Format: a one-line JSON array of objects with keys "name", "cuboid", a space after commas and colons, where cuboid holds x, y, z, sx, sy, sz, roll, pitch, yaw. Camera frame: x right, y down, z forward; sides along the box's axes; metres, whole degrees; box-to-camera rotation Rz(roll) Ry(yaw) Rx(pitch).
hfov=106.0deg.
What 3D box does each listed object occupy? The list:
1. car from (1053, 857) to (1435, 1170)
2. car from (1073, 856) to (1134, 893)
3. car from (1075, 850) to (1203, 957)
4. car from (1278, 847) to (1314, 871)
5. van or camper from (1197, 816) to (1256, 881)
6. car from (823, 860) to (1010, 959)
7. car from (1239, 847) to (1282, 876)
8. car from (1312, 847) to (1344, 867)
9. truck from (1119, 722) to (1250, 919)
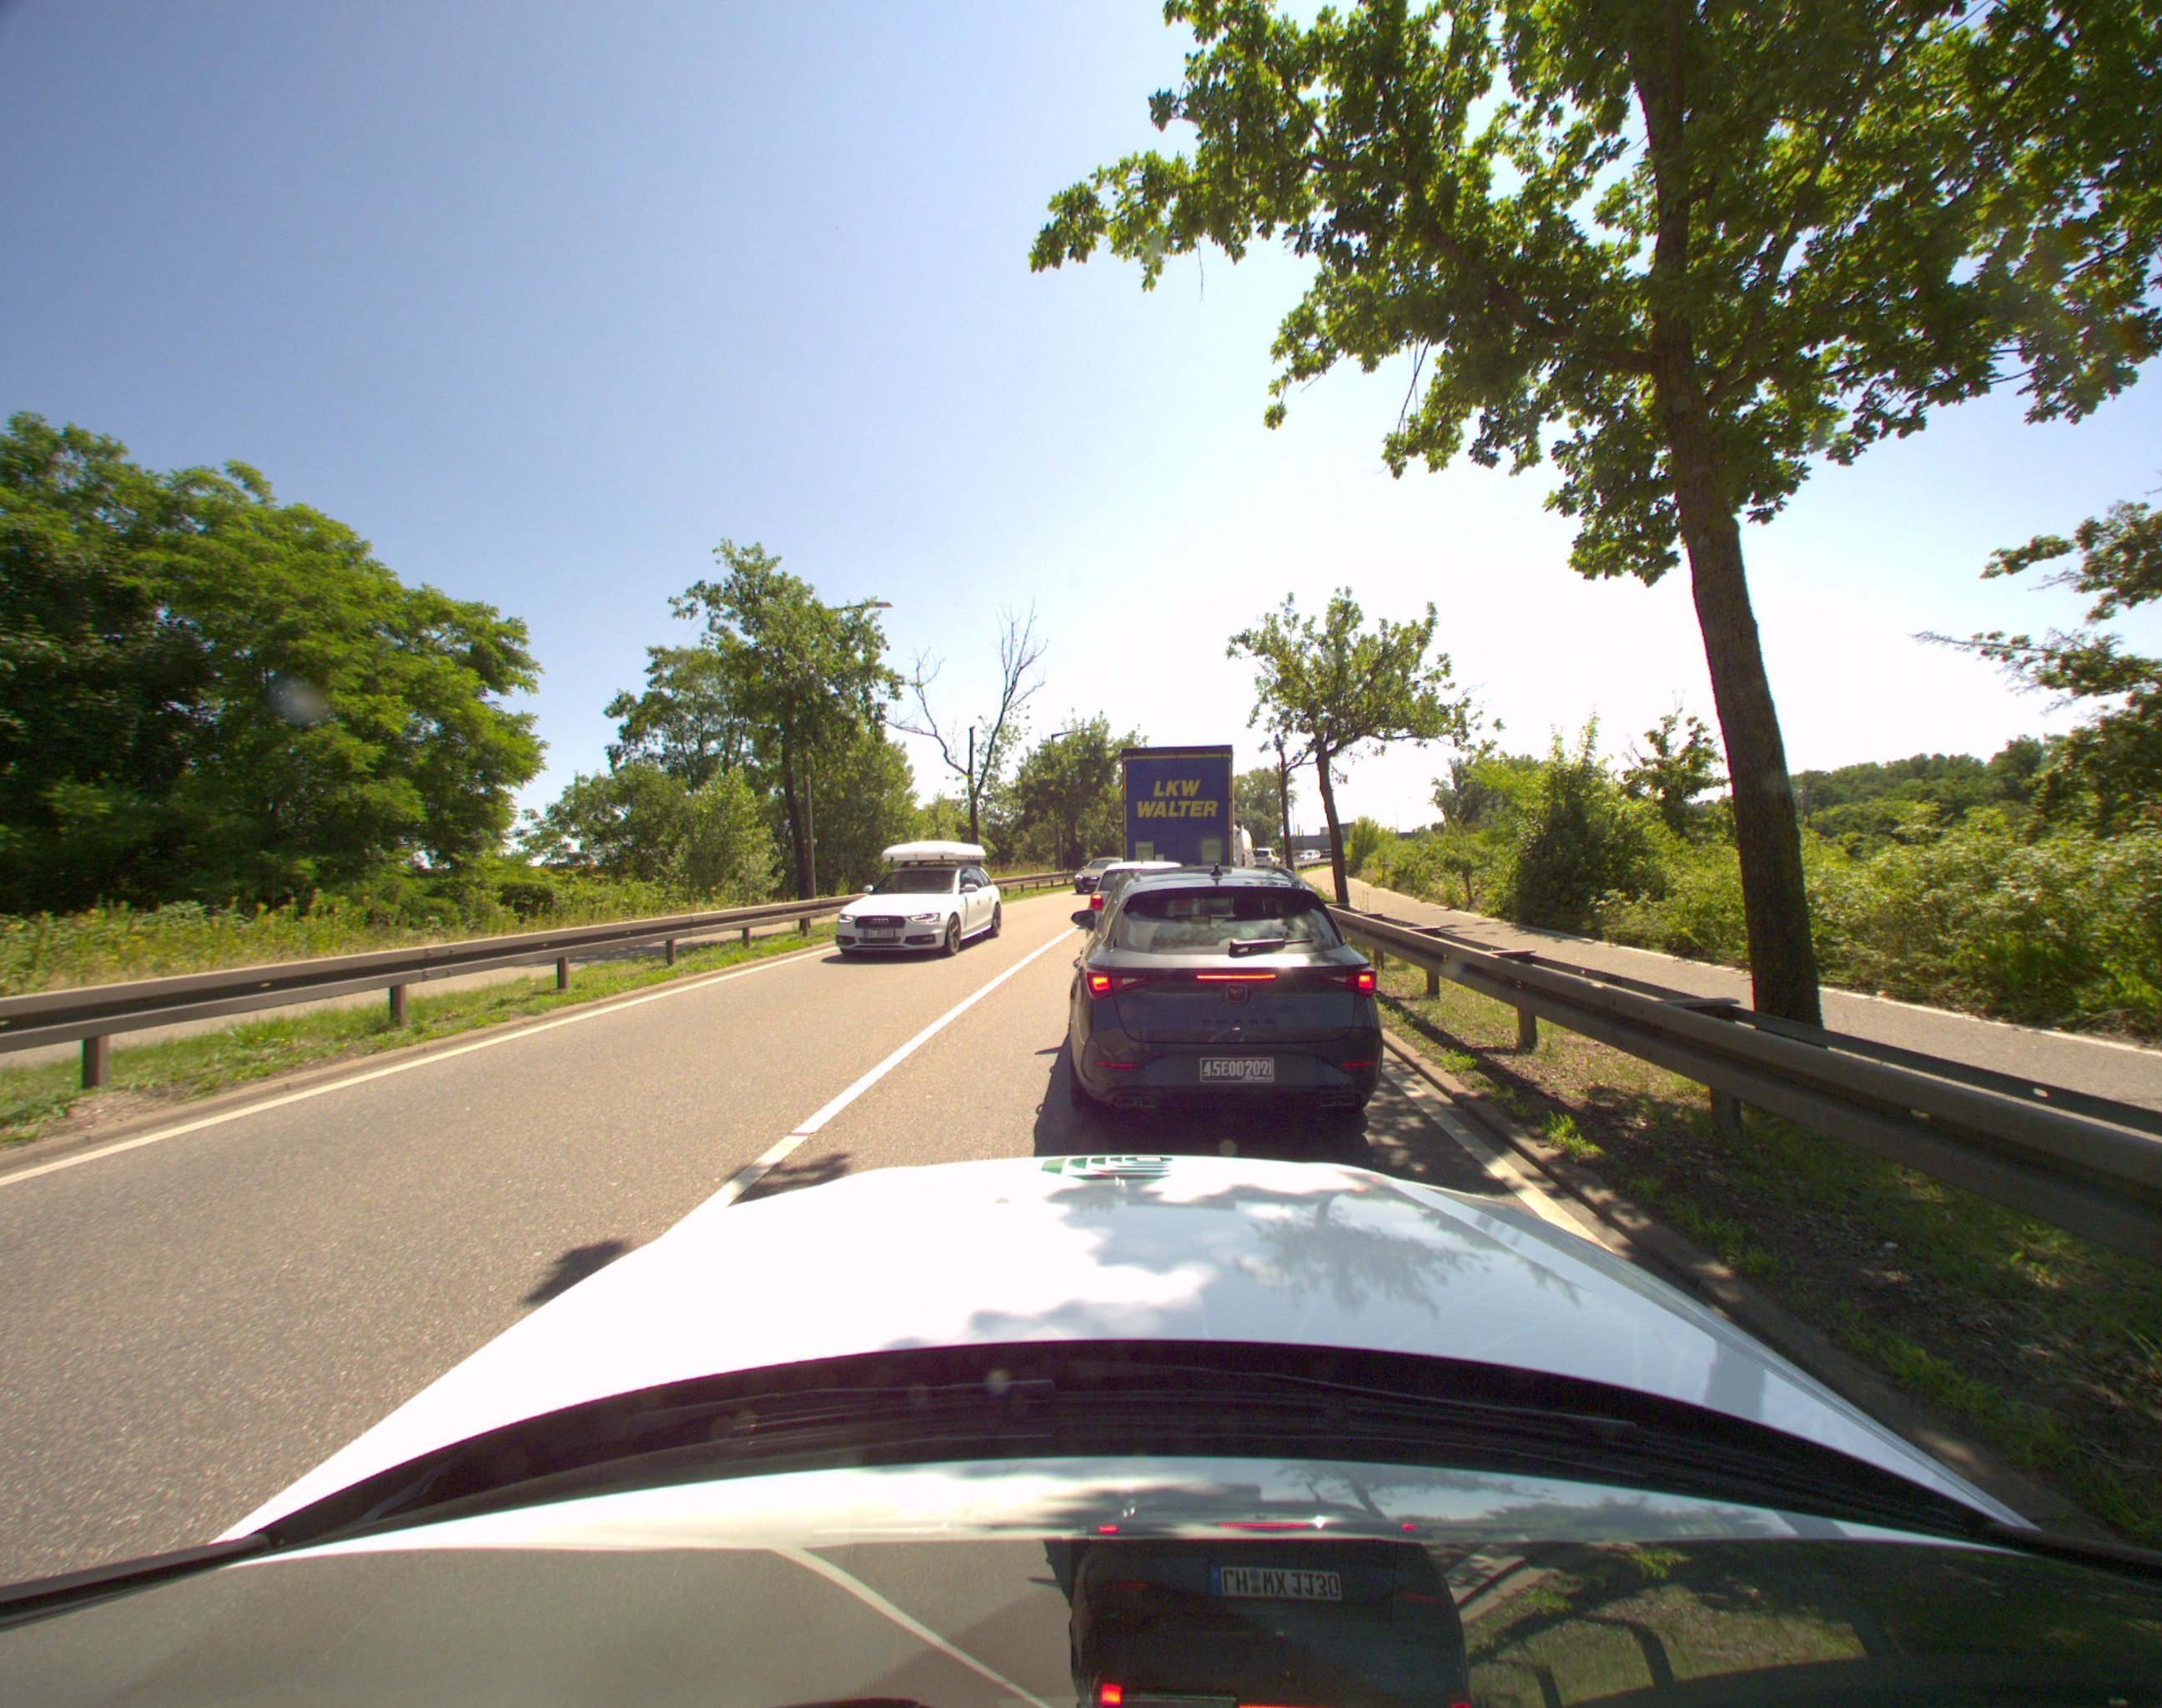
[{"name": "car", "cuboid": [0.825, 0.745, 5.699, 1.737, 1.432, 3.882, -1, 0, 2]}, {"name": "car", "cuboid": [0.993, 0.789, 33.426, 1.748, 1.396, 4.419, -1, 0, 11]}, {"name": "car", "cuboid": [0.957, 0.710, 13.616, 1.801, 1.508, 4.004, -1, 0, 4]}, {"name": "car", "cuboid": [16.803, 0.385, 63.521, 1.976, 1.808, 4.873, -1, 0, 24]}, {"name": "van or camper", "cuboid": [7.418, -0.231, 41.043, 2.449, 2.998, 6.109, -1, 0, 14]}, {"name": "car", "cuboid": [-2.630, 0.842, 14.240, 1.809, 1.421, 4.476, -1, 0, 8]}, {"name": "car", "cuboid": [11.325, 0.442, 51.102, 1.977, 1.712, 4.644, -1, 0, 21]}, {"name": "car", "cuboid": [22.466, 0.285, 73.927, 1.975, 1.717, 4.897, -1, 0, 27]}, {"name": "truck", "cuboid": [3.808, -0.745, 26.934, 2.932, 4.449, 16.844, -1, 0, 10]}]
